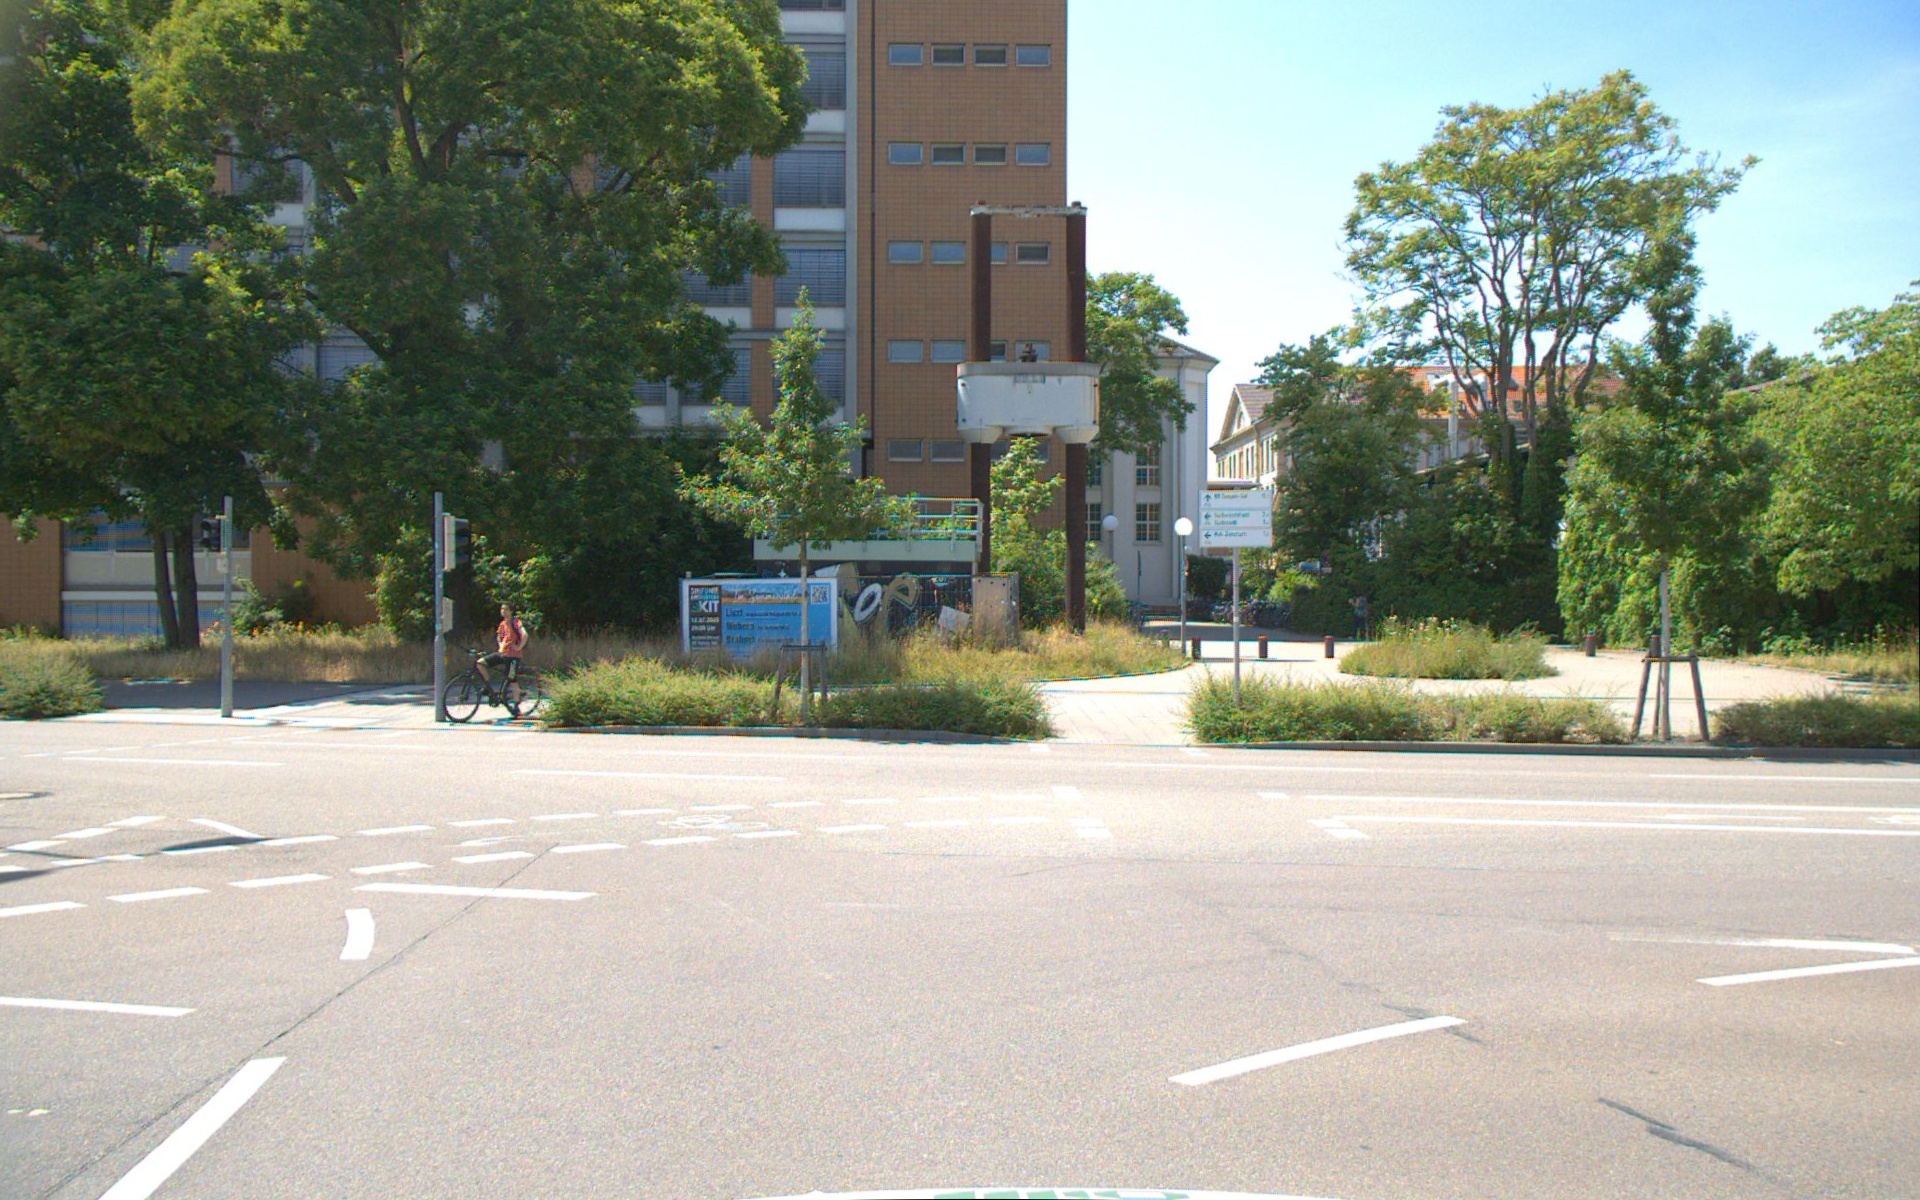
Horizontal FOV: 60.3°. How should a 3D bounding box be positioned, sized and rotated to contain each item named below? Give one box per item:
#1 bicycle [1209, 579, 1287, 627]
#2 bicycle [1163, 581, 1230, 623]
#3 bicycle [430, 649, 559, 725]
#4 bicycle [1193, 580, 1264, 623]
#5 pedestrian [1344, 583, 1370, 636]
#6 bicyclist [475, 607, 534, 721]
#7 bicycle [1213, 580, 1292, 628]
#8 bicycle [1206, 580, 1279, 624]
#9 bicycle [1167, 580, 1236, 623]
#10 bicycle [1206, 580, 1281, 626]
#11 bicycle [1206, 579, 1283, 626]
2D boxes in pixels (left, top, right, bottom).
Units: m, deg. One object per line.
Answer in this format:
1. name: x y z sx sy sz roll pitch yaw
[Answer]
1. bicycle: 13.169 0.145 75.634 3.375 2.049 0.760 2 0 2
2. bicycle: 12.466 0.095 87.091 3.375 2.049 0.760 2 0 2
3. bicycle: -7.304 1.347 26.004 0.548 1.063 1.985 2 2 41
4. bicycle: 13.399 0.066 82.689 3.375 2.049 0.760 2 0 2
5. pedestrian: 13.006 0.298 54.227 0.626 1.694 0.706 2 0 -1
6. bicyclist: -7.191 0.995 26.111 0.541 1.745 0.699 2 1 41
7. bicycle: 13.148 0.179 74.317 3.375 2.049 0.760 2 0 2
8. bicycle: 13.789 0.098 80.856 3.375 2.049 0.760 2 0 2
9. bicycle: 12.358 0.073 84.755 3.375 2.049 0.760 2 0 2
10. bicycle: 13.456 0.119 78.650 3.375 2.049 0.760 2 0 2
11. bicycle: 13.208 0.098 76.766 3.375 2.049 0.760 2 0 2
